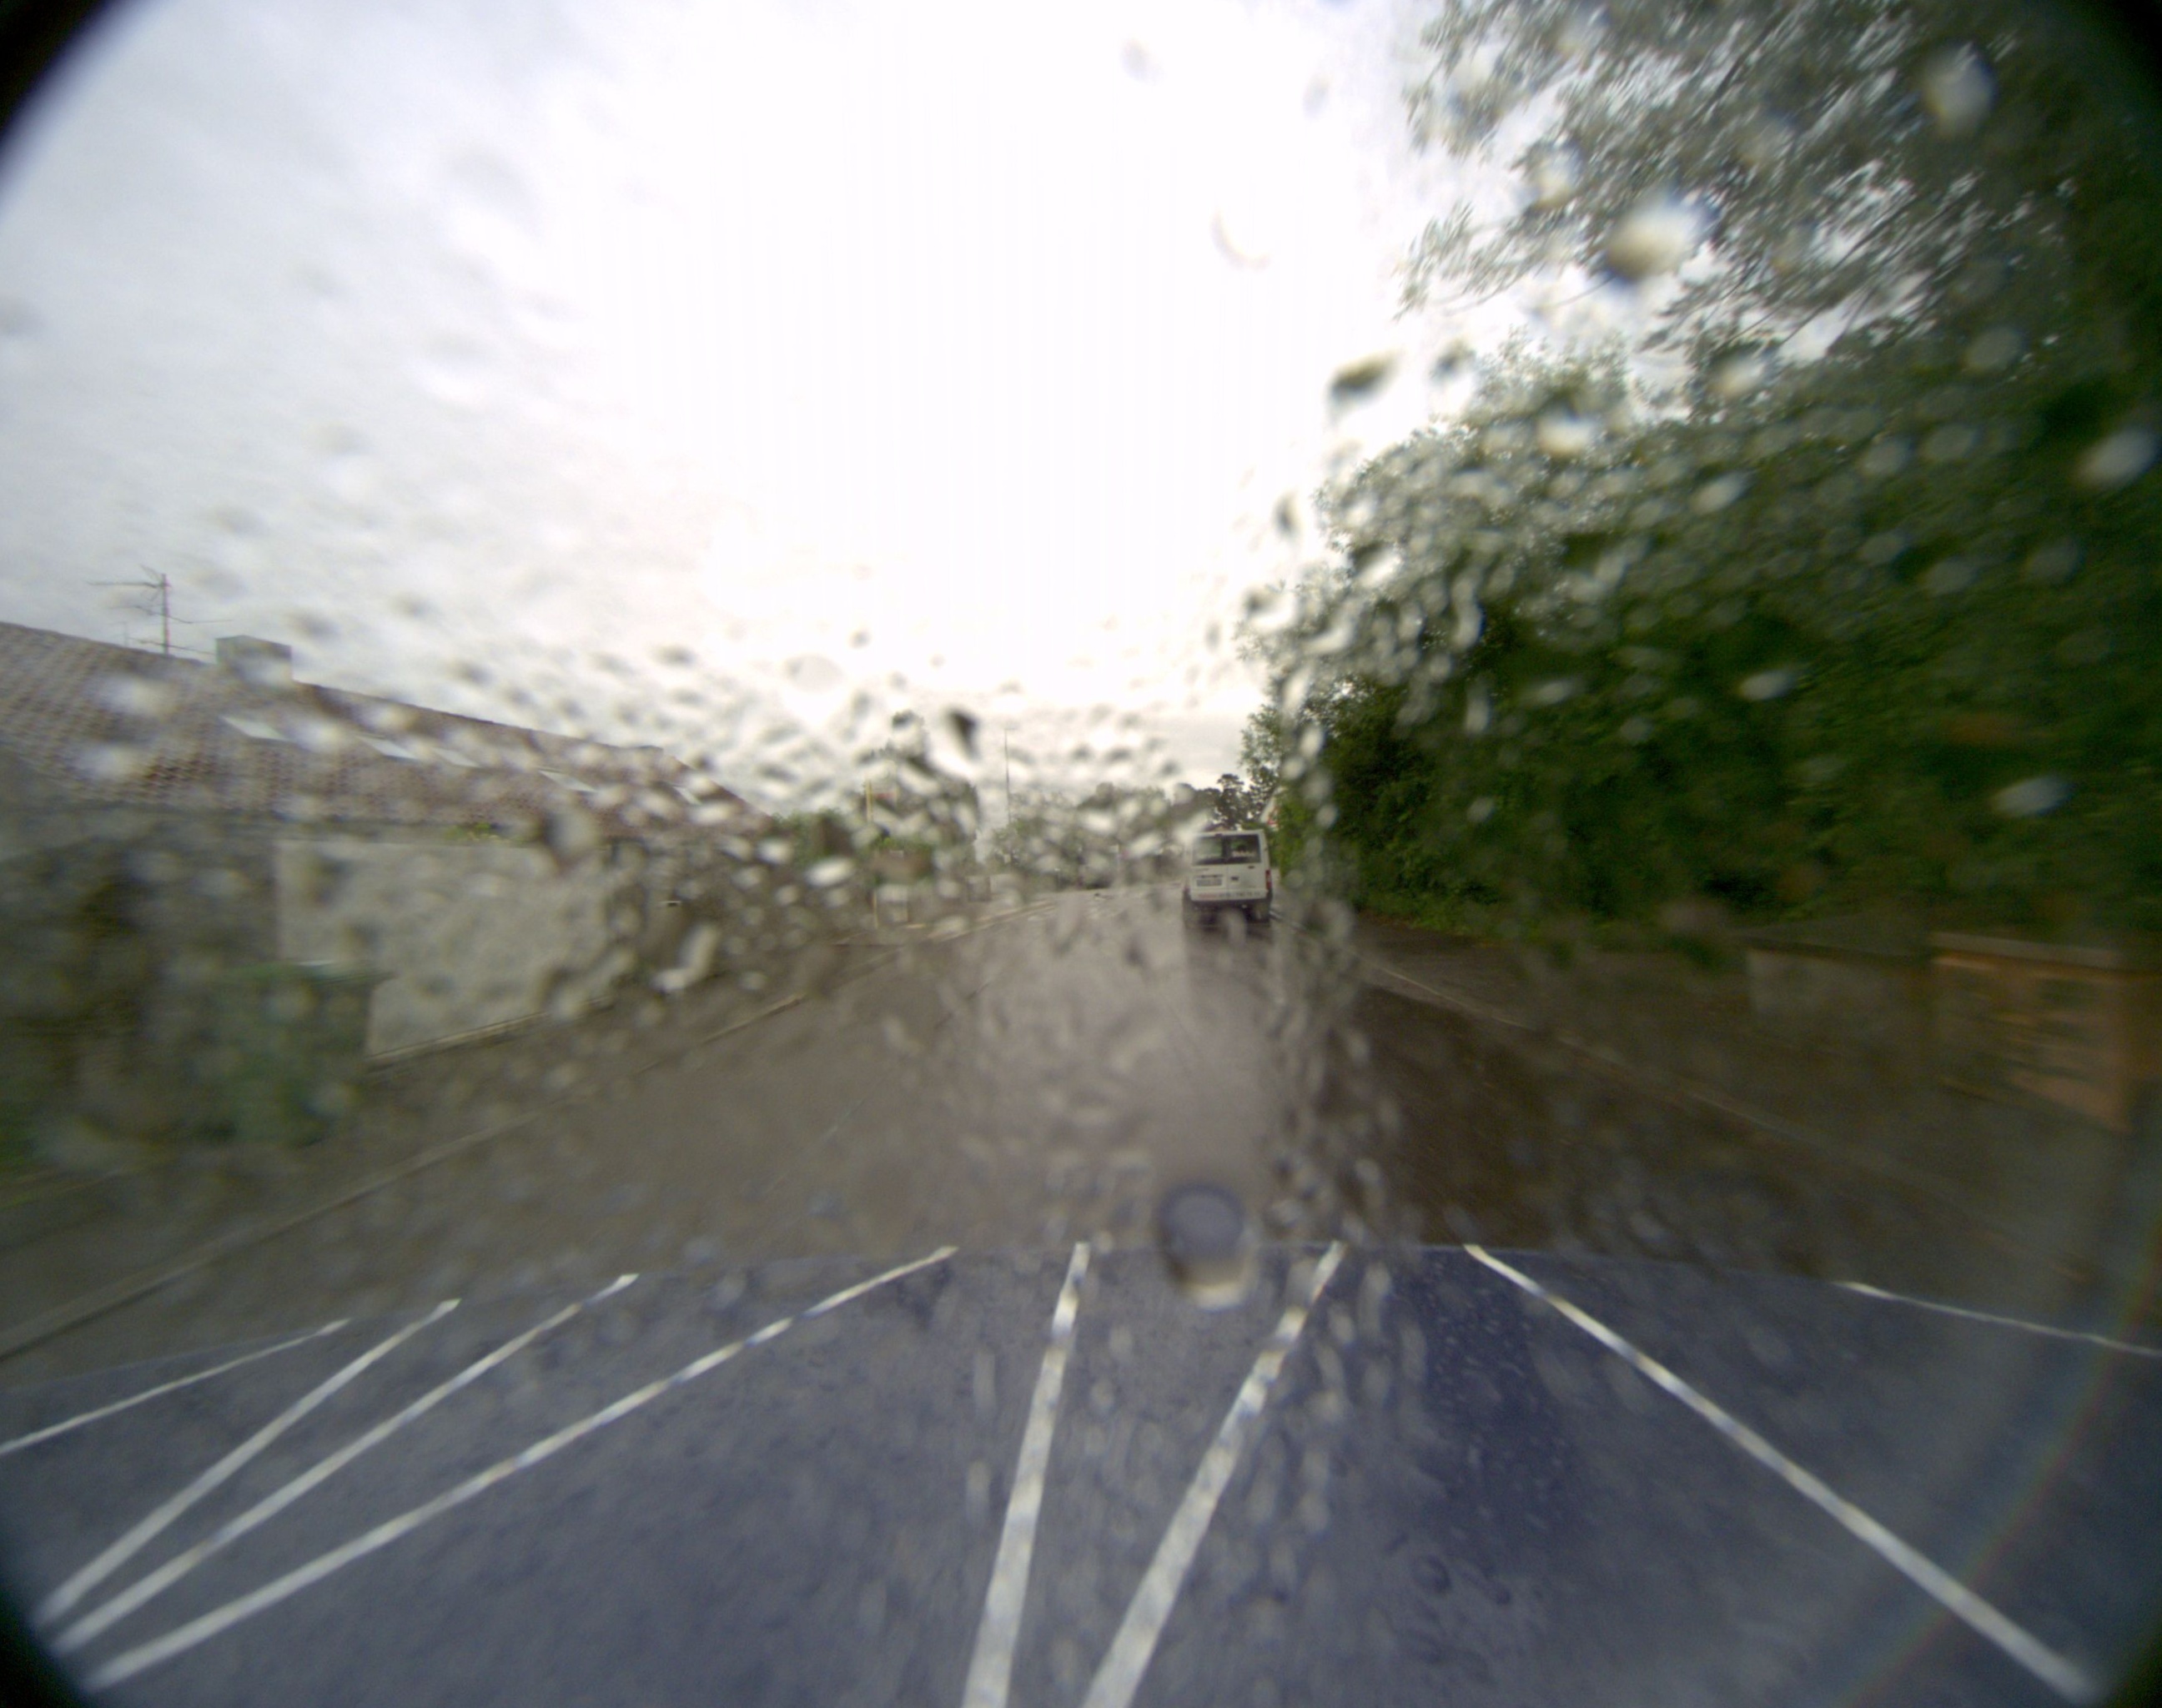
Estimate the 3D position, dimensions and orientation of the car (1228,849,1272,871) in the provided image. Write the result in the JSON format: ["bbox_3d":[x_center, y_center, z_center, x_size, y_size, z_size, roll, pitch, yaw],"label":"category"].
[{"bbox_3d":[13.207,0.456,59.147,1.796,1.460,4.223,-4,0,36],"label":"car"}]

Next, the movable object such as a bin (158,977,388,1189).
[{"bbox_3d":[-4.787,1.321,4.540,0.740,1.082,0.600,-1,0,6],"label":"movable object such as a bin"}]

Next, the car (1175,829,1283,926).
[{"bbox_3d":[3.456,0.507,18.728,2.116,1.963,5.175,-3,0,6],"label":"car"}]
